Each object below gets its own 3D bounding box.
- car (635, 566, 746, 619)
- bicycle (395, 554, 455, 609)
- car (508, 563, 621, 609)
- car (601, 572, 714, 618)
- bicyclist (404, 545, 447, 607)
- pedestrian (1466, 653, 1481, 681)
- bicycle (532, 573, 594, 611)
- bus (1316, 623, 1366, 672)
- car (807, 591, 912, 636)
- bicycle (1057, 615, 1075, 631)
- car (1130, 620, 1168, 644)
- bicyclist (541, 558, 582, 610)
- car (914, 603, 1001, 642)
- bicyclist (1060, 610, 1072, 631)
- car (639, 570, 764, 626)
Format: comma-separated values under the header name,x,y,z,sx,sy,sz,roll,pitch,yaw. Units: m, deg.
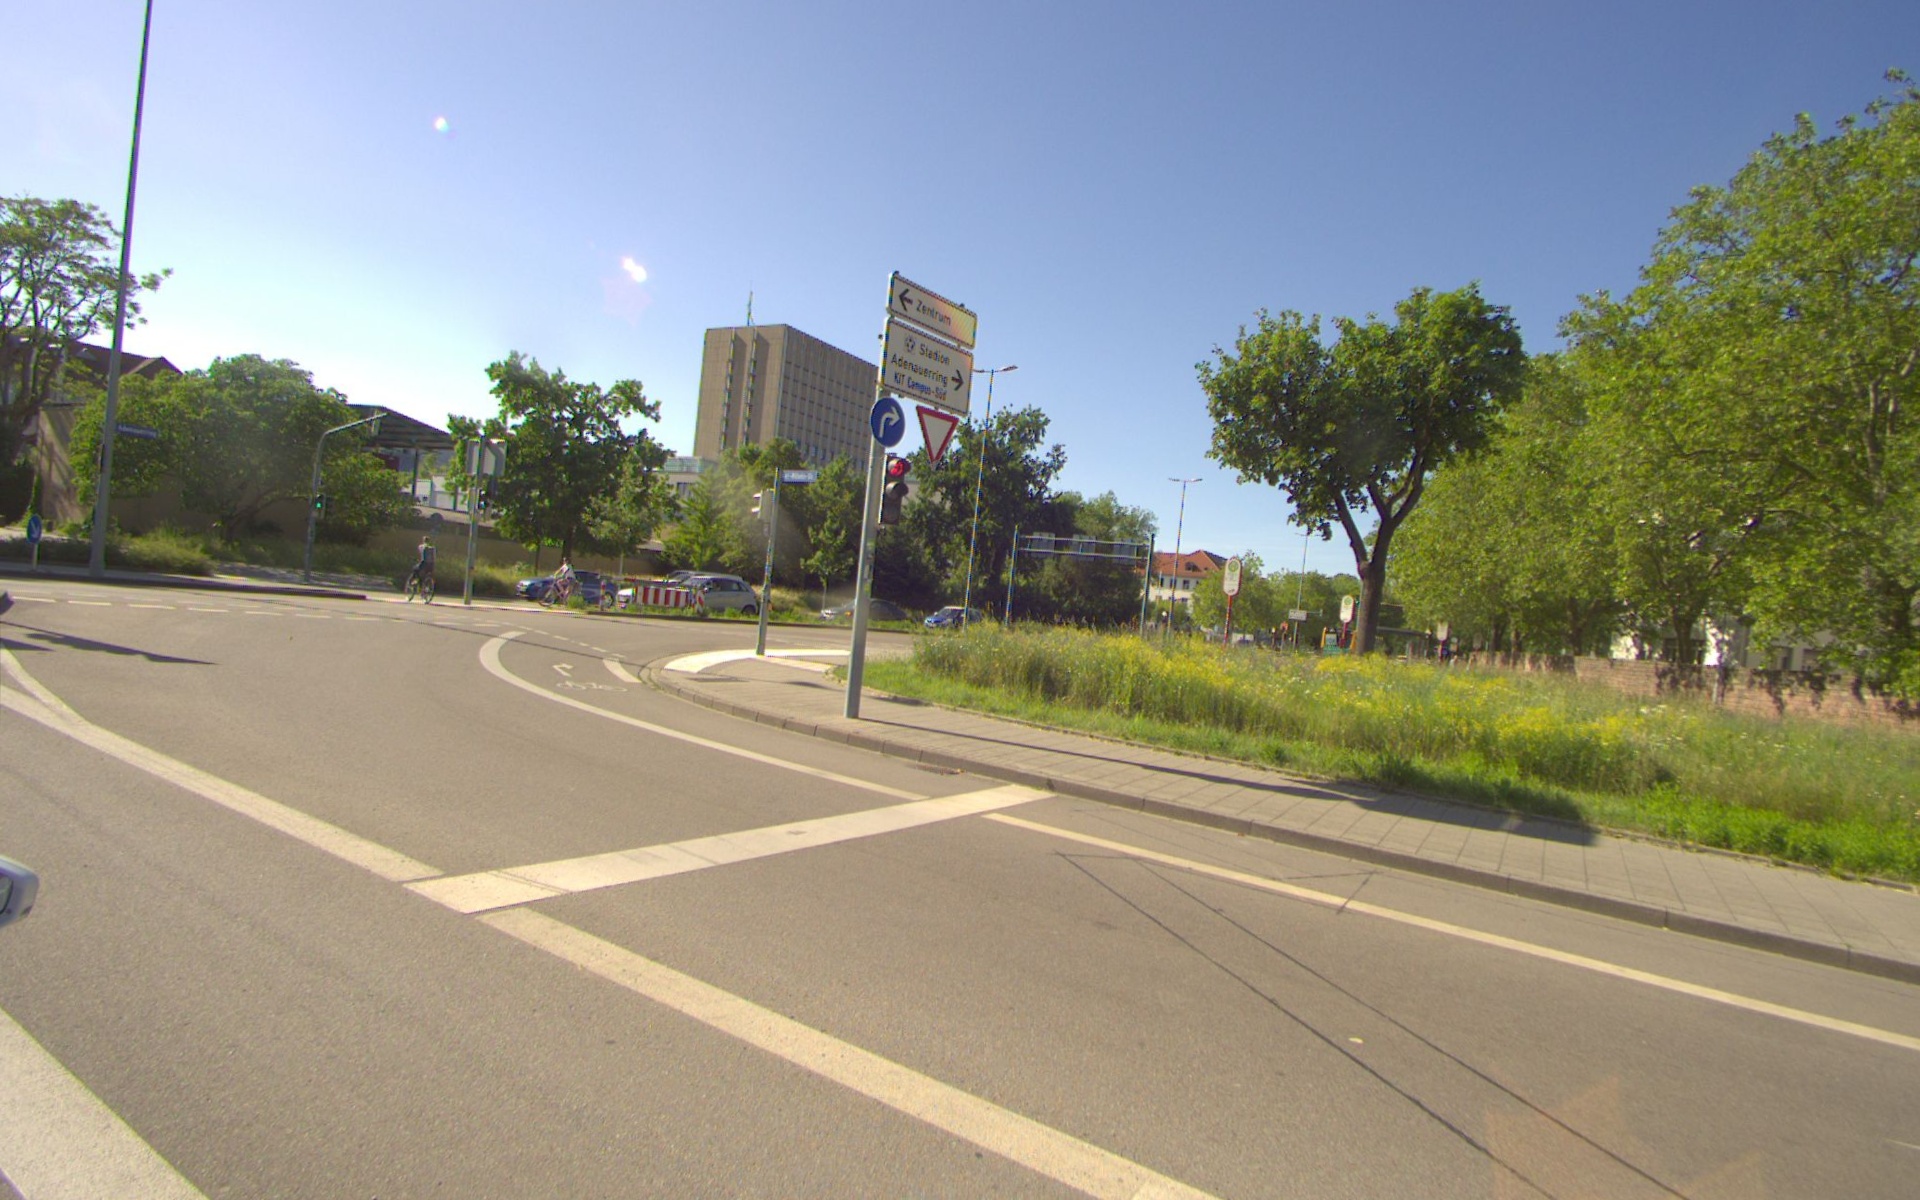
name,x,y,z,sx,sy,sz,roll,pitch,yaw
car,-12.509,-0.326,46.960,1.909,1.976,4.742,5,-1,35
bicycle,-13.714,-0.476,25.766,1.843,1.180,0.640,8,3,40
car,-16.178,-0.548,41.338,1.679,1.459,3.988,5,-1,35
car,-12.484,-0.178,41.695,1.971,1.487,3.982,6,0,40
bicyclist,-13.669,-0.616,25.731,0.765,1.463,0.640,9,3,40
pedestrian,32.090,4.194,62.872,0.642,1.630,0.558,7,-1,30
bicycle,-13.932,-0.284,35.349,0.736,1.180,1.864,7,2,33
bus,30.873,3.891,81.417,2.935,3.310,6.255,7,-2,26
car,-4.373,0.639,44.614,1.953,1.573,4.709,5,-1,35
bicycle,9.140,1.967,86.731,0.633,1.179,1.864,7,0,36
car,16.858,2.837,89.444,1.906,1.821,4.353,5,-1,30
bicyclist,-13.958,-0.555,35.258,0.734,1.707,0.974,7,2,34
car,-0.078,1.183,50.743,1.953,1.573,4.709,5,-1,35
bicyclist,9.137,1.767,86.673,0.633,1.666,0.774,7,1,36
car,-9.529,-0.052,37.344,1.762,1.644,4.303,5,-1,35
